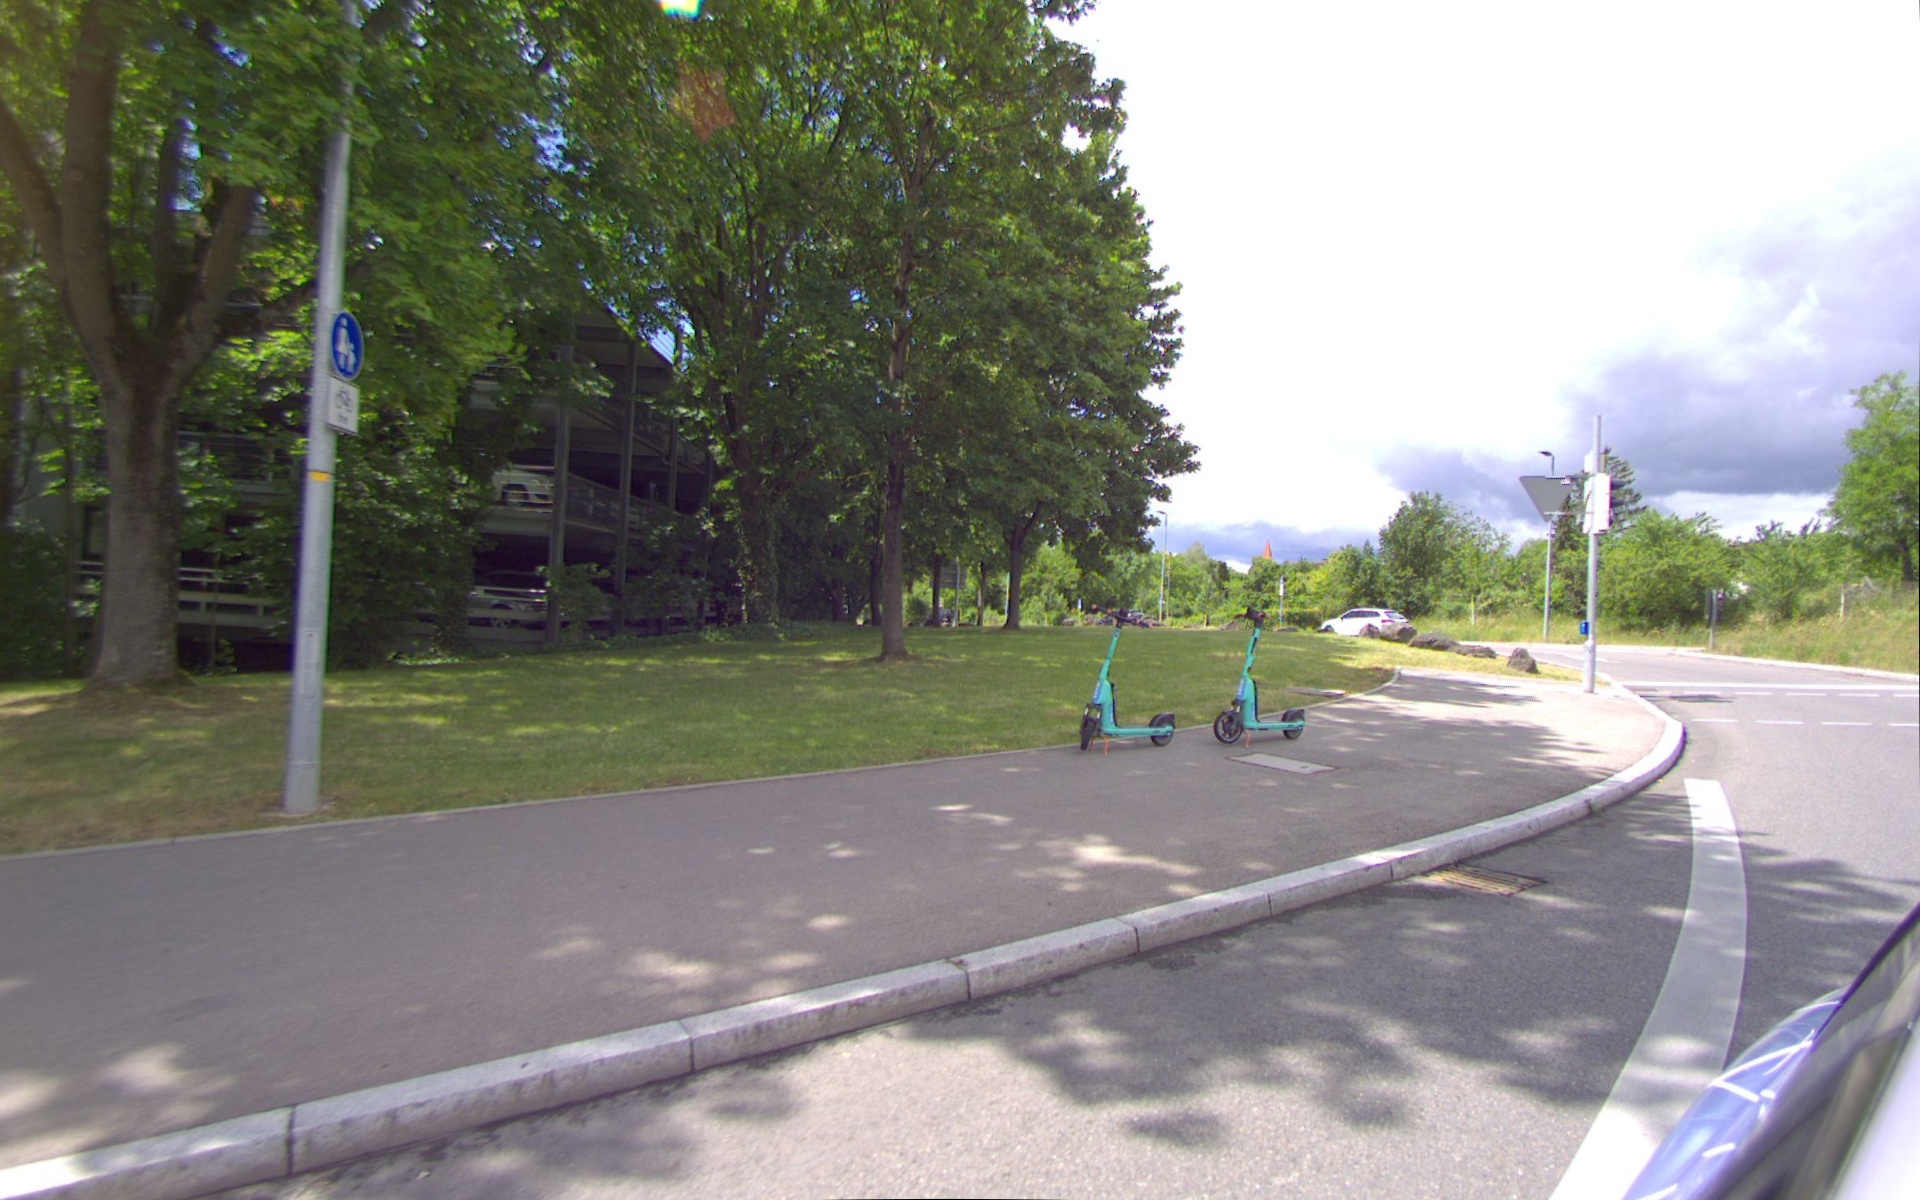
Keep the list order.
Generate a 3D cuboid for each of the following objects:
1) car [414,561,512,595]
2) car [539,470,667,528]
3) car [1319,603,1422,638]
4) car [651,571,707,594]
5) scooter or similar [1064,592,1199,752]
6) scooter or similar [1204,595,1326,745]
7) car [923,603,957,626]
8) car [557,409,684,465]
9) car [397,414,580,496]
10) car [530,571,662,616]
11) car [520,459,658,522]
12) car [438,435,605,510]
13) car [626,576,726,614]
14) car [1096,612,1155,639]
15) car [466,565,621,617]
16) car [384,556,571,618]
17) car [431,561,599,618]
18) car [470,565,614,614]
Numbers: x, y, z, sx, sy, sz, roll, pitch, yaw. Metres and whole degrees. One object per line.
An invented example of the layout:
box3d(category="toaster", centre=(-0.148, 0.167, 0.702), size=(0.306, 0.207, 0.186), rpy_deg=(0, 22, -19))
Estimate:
box3d(category="car", centre=(-23.384, -1.022, 47.720), size=(3.727, 1.410, 1.776), rpy_deg=(2, -1, 1))
box3d(category="car", centre=(-12.008, -3.395, 34.155), size=(3.634, 1.562, 1.726), rpy_deg=(2, -3, 1))
box3d(category="car", centre=(18.622, 0.918, 46.143), size=(1.589, 1.488, 4.384), rpy_deg=(-1, 0, -26))
box3d(category="car", centre=(-21.763, -1.349, 78.484), size=(3.785, 1.461, 1.753), rpy_deg=(4, -1, 1))
box3d(category="scooter or similar", centre=(1.500, 0.577, 8.782), size=(1.170, 1.280, 0.533), rpy_deg=(0, 2, -43))
box3d(category="scooter or similar", centre=(2.823, 0.601, 9.324), size=(1.170, 1.280, 0.533), rpy_deg=(0, 2, -43))
box3d(category="car", centre=(-1.874, 1.357, 92.817), size=(1.753, 1.802, 4.817), rpy_deg=(2, -5, -19))
box3d(category="car", centre=(-12.099, -5.819, 36.215), size=(3.926, 1.683, 1.867), rpy_deg=(0, 0, 2))
box3d(category="car", centre=(-11.543, -3.543, 24.946), size=(3.634, 1.562, 1.726), rpy_deg=(2, -3, 1))
box3d(category="car", centre=(-12.103, -0.187, 33.842), size=(3.727, 1.309, 1.776), rpy_deg=(2, -1, 1))
box3d(category="car", centre=(-11.607, -3.410, 31.827), size=(3.634, 1.562, 1.726), rpy_deg=(2, -3, 1))
box3d(category="car", centre=(-11.598, -3.369, 26.945), size=(3.634, 1.562, 1.726), rpy_deg=(2, -3, 1))
box3d(category="car", centre=(-12.027, -0.210, 43.030), size=(3.727, 1.410, 1.776), rpy_deg=(2, -1, 1))
box3d(category="car", centre=(10.496, 1.628, 64.382), size=(1.753, 1.598, 4.172), rpy_deg=(2, -1, -23))
box3d(category="car", centre=(-12.020, -0.249, 29.399), size=(3.727, 1.309, 1.776), rpy_deg=(2, -1, 1))
box3d(category="car", centre=(-11.861, -0.303, 25.053), size=(3.727, 1.309, 1.776), rpy_deg=(2, -1, 1))
box3d(category="car", centre=(-11.930, -0.264, 27.290), size=(3.727, 1.309, 1.776), rpy_deg=(2, -1, 1))
box3d(category="car", centre=(-12.967, -0.302, 31.545), size=(3.727, 1.309, 1.776), rpy_deg=(2, -1, 1))
